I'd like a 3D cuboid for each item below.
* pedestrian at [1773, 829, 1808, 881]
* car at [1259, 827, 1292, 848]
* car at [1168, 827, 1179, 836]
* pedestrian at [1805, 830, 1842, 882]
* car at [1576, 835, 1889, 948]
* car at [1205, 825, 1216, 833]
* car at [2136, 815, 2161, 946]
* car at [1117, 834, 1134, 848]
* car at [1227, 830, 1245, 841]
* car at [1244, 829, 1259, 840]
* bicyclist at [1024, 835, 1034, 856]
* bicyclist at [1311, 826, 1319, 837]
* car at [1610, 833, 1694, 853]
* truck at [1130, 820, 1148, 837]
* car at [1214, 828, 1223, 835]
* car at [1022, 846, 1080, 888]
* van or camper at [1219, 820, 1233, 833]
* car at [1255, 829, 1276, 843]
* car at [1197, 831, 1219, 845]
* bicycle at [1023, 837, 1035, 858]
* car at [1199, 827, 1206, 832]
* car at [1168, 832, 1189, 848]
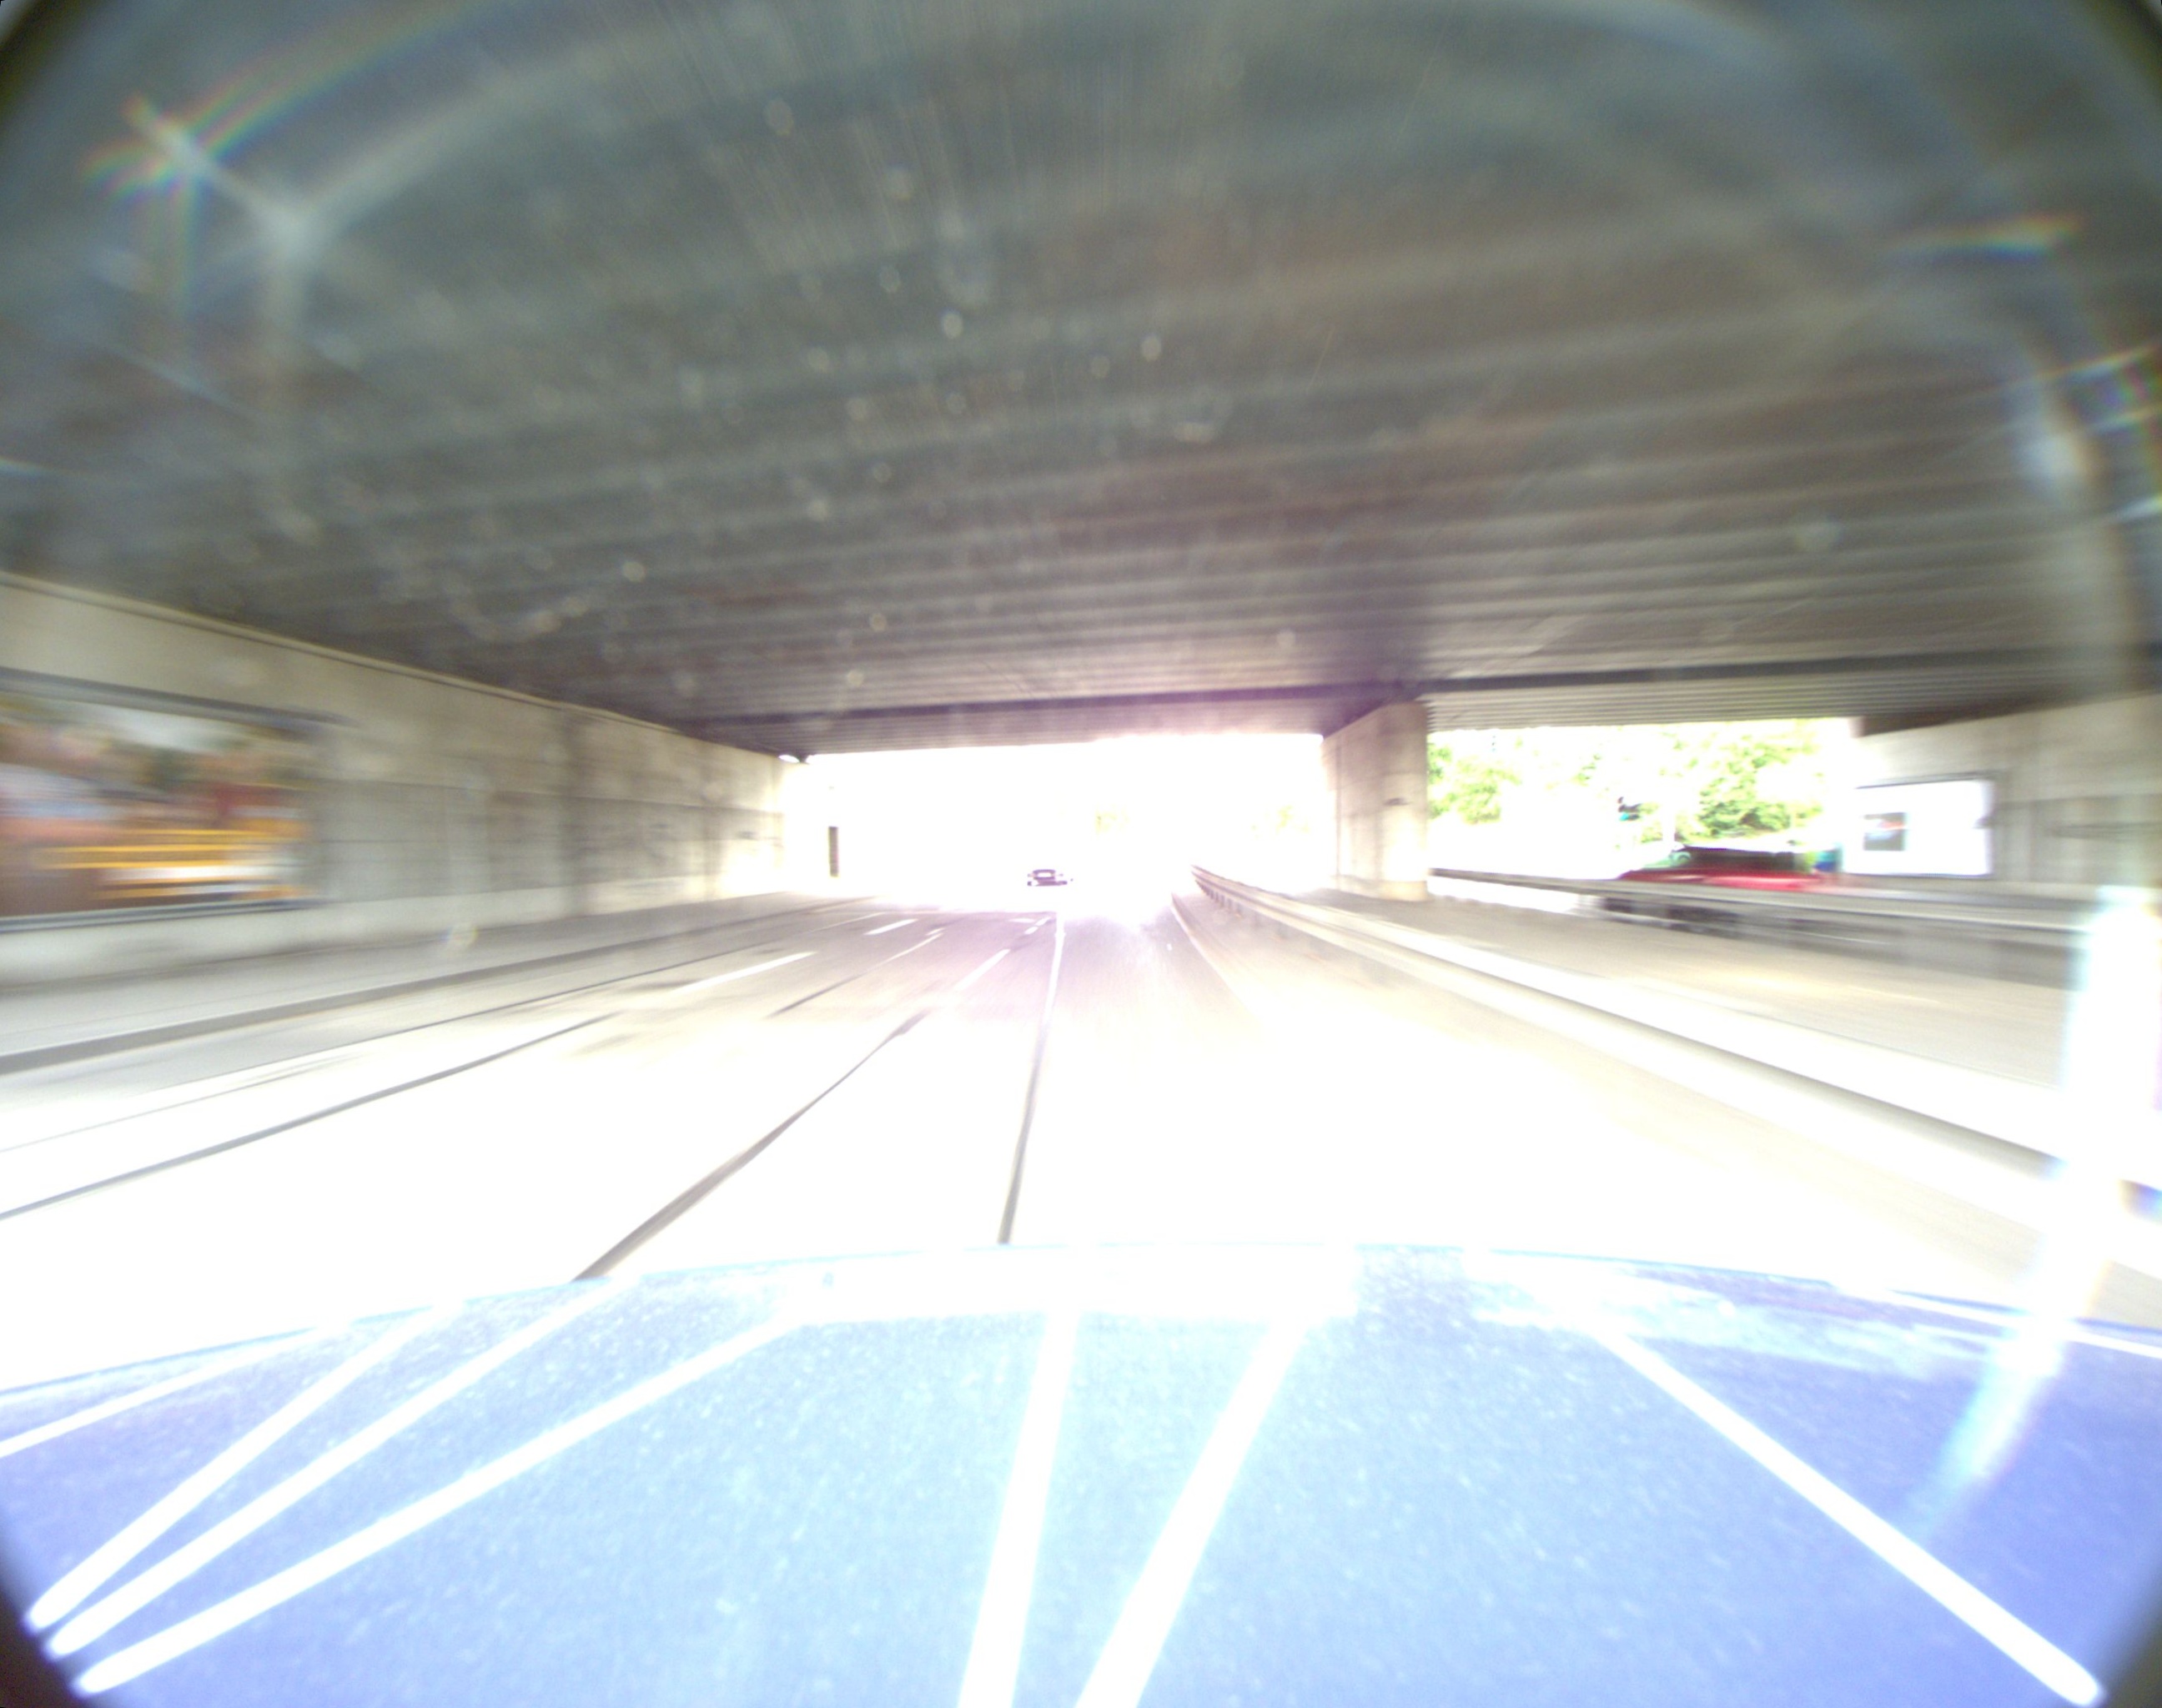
[{"bbox_3d":[23.068,0.018,24.709,0.592,1.671,0.556,0,2,4],"label":"pedestrian"},{"bbox_3d":[16.841,-1.478,65.925,1.998,1.749,4.717,0,2,4],"label":"car"},{"bbox_3d":[15.861,-3.835,130.248,1.781,1.488,3.599,0,2,6],"label":"car"},{"bbox_3d":[23.440,0.062,23.984,0.555,1.616,0.586,0,2,7],"label":"pedestrian"},{"bbox_3d":[11.109,0.511,13.497,1.998,1.666,4.323,0,2,4],"label":"car"},{"bbox_3d":[31.680,-6.127,185.464,2.195,1.953,5.194,0,2,5],"label":"car"},{"bbox_3d":[17.314,0.456,9.616,1.998,2.002,4.337,0,2,5],"label":"car"},{"bbox_3d":[5.178,-1.526,87.763,1.712,1.488,3.651,0,2,6],"label":"car"},{"bbox_3d":[20.667,-2.485,101.521,1.978,1.381,4.781,1,2,6],"label":"car"},{"bbox_3d":[26.461,-3.065,118.179,1.929,1.521,4.000,1,3,8],"label":"car"},{"bbox_3d":[-4.561,-0.752,66.622,0.717,1.759,0.988,0,2,3],"label":"bicyclist"},{"bbox_3d":[35.118,-3.381,113.992,0.894,1.737,0.998,-1,3,10],"label":"bicyclist"},{"bbox_3d":[40.439,-0.762,53.941,4.315,1.371,2.001,0,2,13],"label":"car"},{"bbox_3d":[10.701,-4.689,139.186,3.065,3.096,7.936,0,2,6],"label":"truck"},{"bbox_3d":[35.059,-5.820,194.262,1.997,1.791,4.410,0,2,7],"label":"car"},{"bbox_3d":[-1.214,0.501,32.494,1.822,1.565,3.954,-2,2,6],"label":"car"},{"bbox_3d":[31.169,-5.927,163.258,2.357,2.525,7.064,-1,2,5],"label":"van or camper"},{"bbox_3d":[21.254,-2.105,87.603,1.809,1.623,4.393,0,2,6],"label":"car"},{"bbox_3d":[13.495,-1.714,80.666,1.997,1.407,4.833,-2,2,6],"label":"car"},{"bbox_3d":[-4.548,-0.618,66.768,0.721,1.764,2.533,0,2,3],"label":"bicycle"},{"bbox_3d":[37.072,-7.430,232.371,1.997,1.423,5.025,0,2,7],"label":"car"},{"bbox_3d":[9.656,-1.414,75.657,1.919,1.407,4.296,-3,2,6],"label":"car"}]
